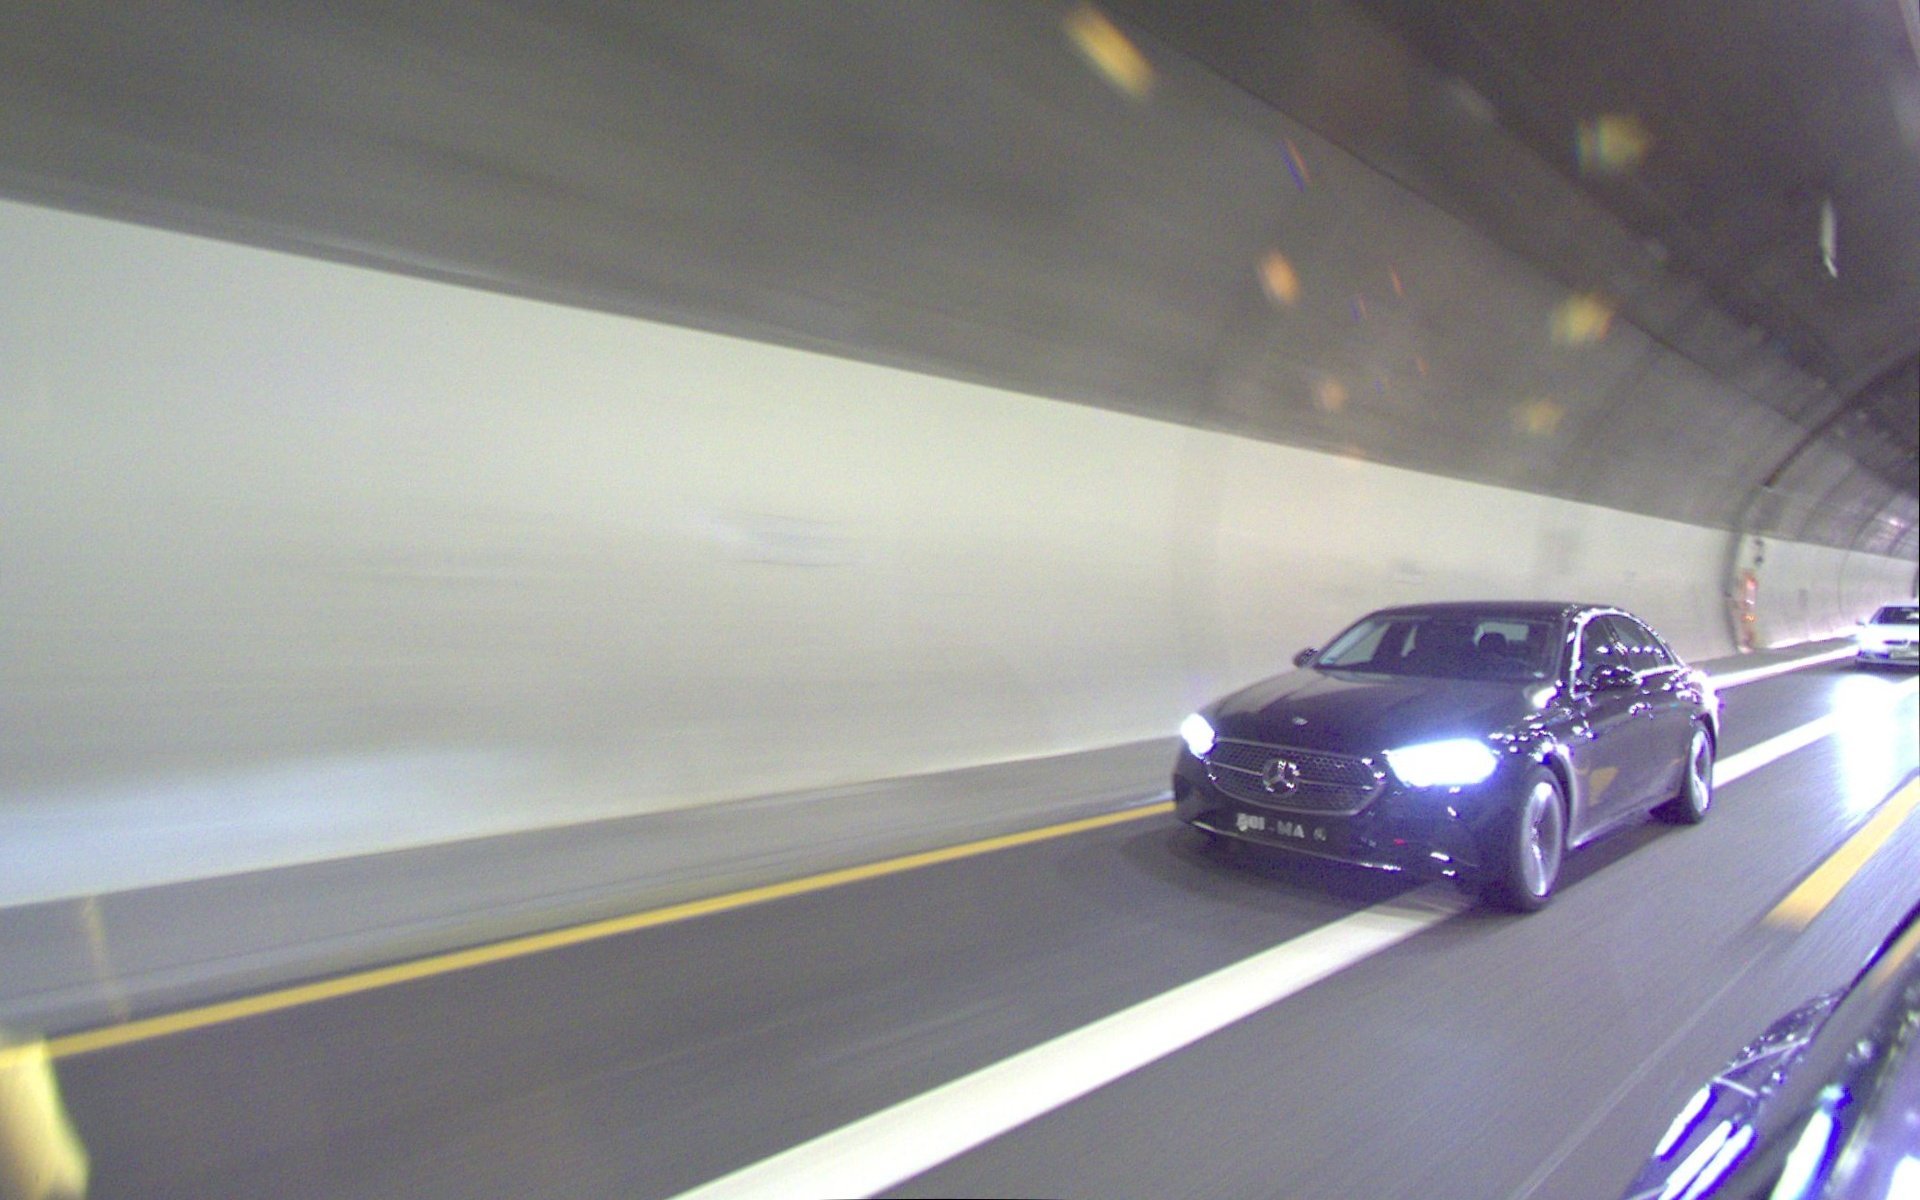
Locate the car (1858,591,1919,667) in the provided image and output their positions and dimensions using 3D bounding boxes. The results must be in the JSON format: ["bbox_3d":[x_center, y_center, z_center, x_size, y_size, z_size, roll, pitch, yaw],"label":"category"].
[{"bbox_3d":[20.719,0.597,21.514,3.961,1.479,1.802,0,1,-39],"label":"car"}]

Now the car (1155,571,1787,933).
[{"bbox_3d":[3.598,0.612,6.612,4.867,1.490,1.930,0,3,-41],"label":"car"}]
